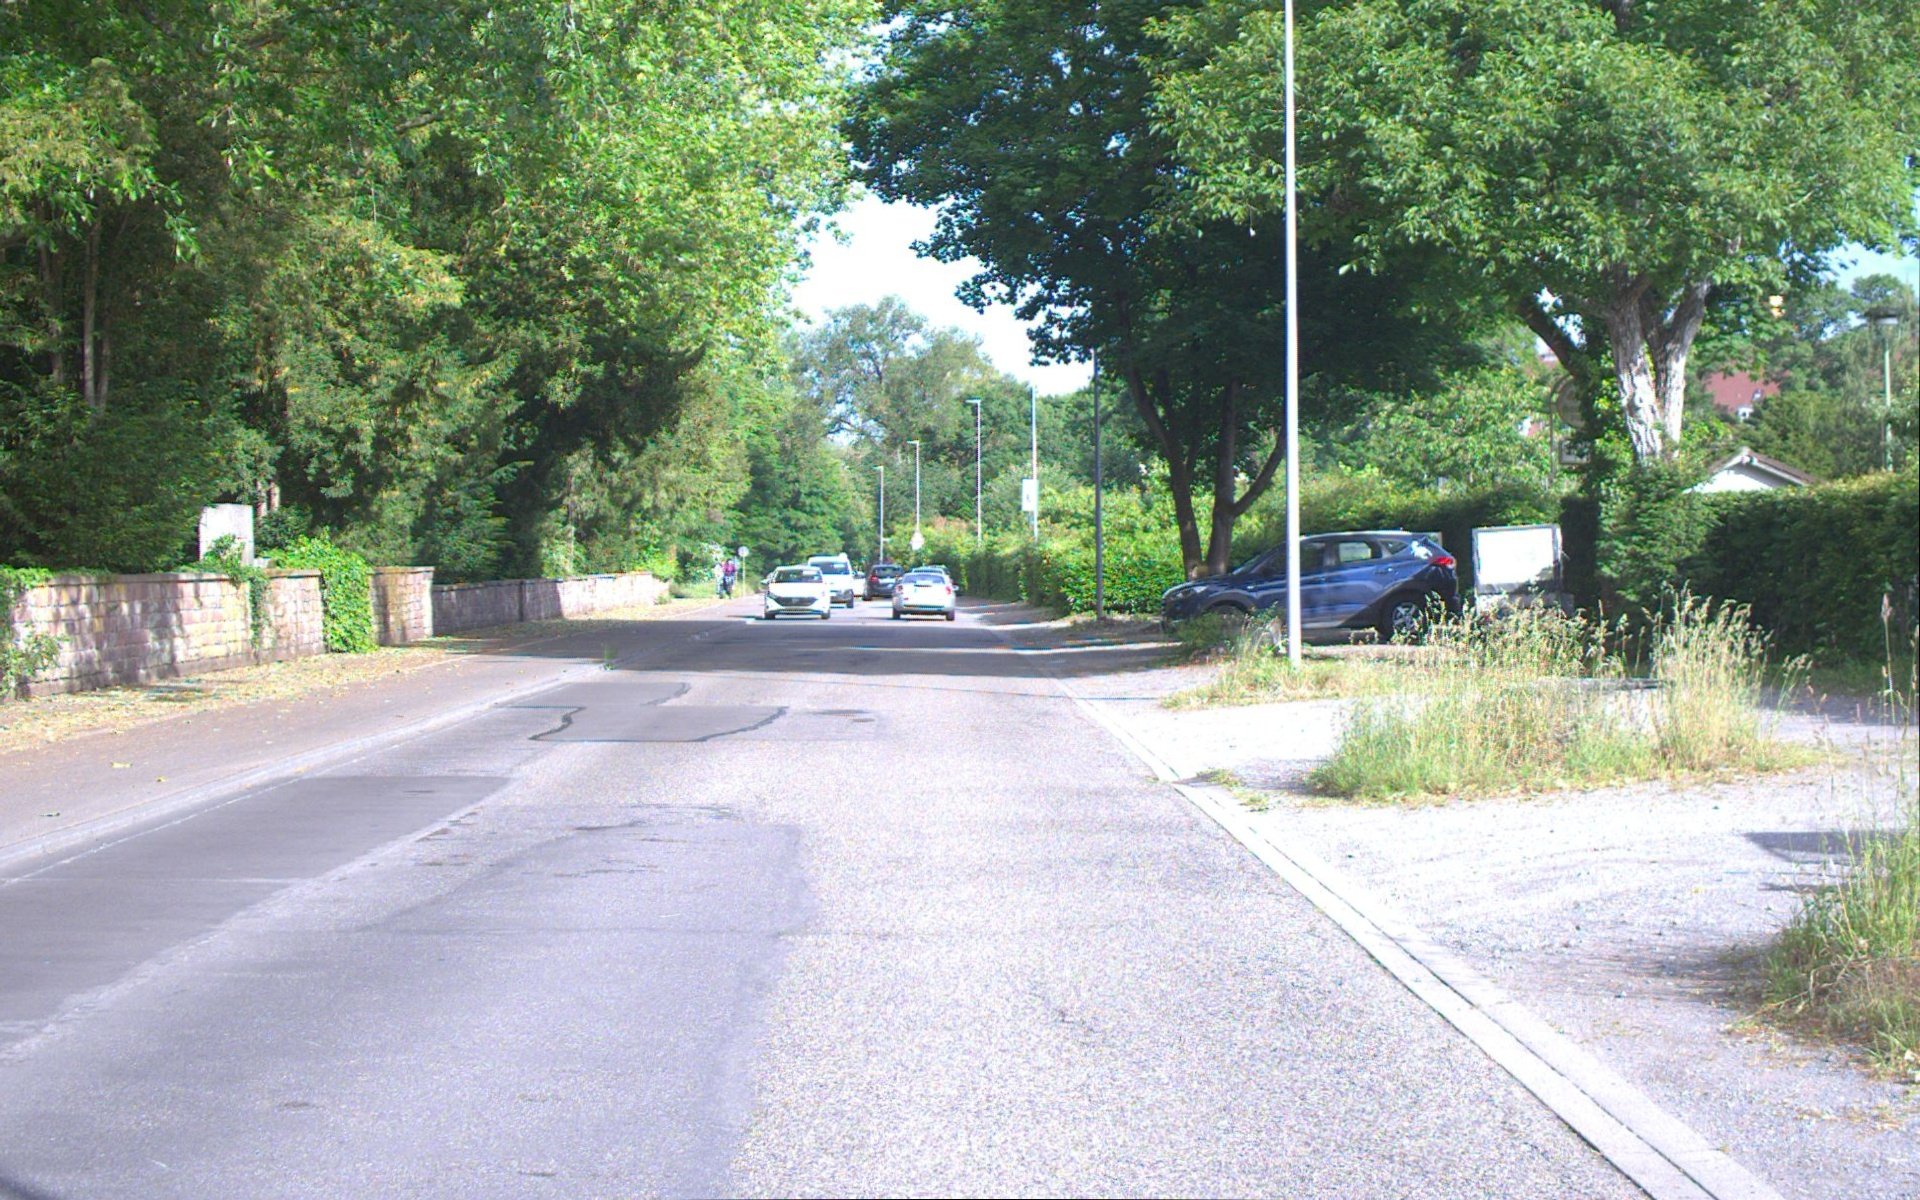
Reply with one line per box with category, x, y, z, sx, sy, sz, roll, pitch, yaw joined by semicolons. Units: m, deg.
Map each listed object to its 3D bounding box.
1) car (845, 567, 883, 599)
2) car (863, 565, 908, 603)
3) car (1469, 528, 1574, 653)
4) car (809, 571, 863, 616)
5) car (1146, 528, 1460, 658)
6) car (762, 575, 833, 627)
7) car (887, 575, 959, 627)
car;-4.882;-0.874;175.279;1.886;1.608;4.055;-1;1;-2
car;-3.234;-0.698;147.948;1.886;1.608;4.055;-1;1;-2
car;8.089;-0.173;49.483;1.351;1.627;4.110;-3;1;10
car;-4.456;-0.256;123.601;1.886;1.559;4.055;-1;1;-2
car;5.077;-0.109;51.354;4.403;1.641;2.000;-3;1;0
car;-4.475;0.018;94.624;1.886;1.367;4.055;-1;1;-3
car;-1.033;0.021;94.616;1.886;1.367;4.055;-1;1;-2
